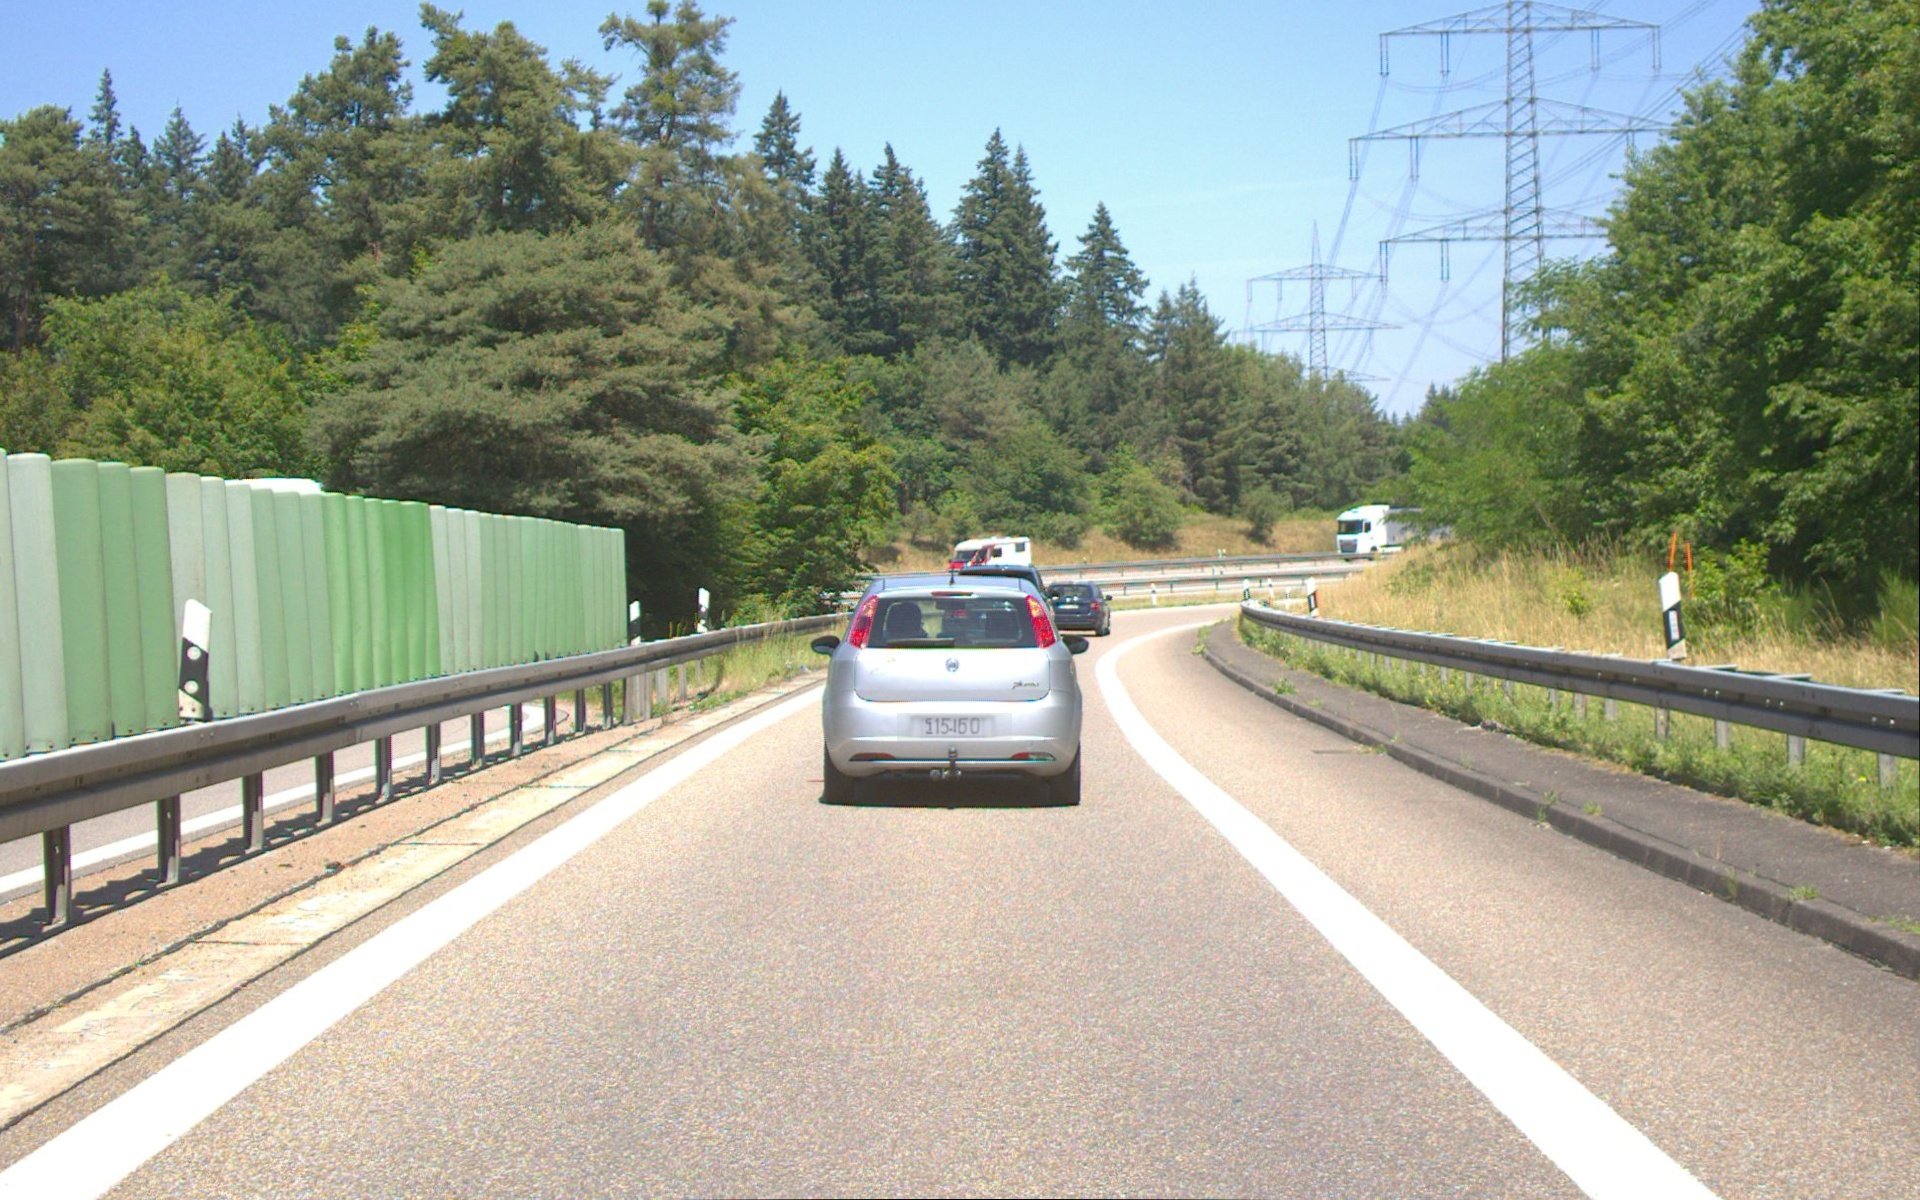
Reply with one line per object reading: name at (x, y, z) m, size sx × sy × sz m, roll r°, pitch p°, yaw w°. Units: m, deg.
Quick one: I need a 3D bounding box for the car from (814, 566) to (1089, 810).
car at (-0.097, 0.534, 23.124) m, size 1.706 × 1.476 × 3.398 m, roll 0°, pitch 1°, yaw -2°

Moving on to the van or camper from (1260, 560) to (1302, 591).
van or camper at (16.065, -1.217, 171.826) m, size 1.808 × 1.481 × 3.999 m, roll 0°, pitch 1°, yaw 9°

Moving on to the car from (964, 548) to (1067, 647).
car at (0.950, -0.070, 60.214) m, size 1.706 × 1.670 × 3.398 m, roll 0°, pitch 1°, yaw -1°

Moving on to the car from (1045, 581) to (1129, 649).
car at (3.404, 0.379, 91.473) m, size 1.882 × 1.678 × 3.999 m, roll -3°, pitch 0°, yaw 6°

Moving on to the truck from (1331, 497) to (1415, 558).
truck at (30.897, -5.422, 257.085) m, size 2.946 × 4.378 × 6.255 m, roll -2°, pitch 1°, yaw 44°

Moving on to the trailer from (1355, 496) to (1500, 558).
trailer at (35.702, -5.621, 262.027) m, size 2.932 × 4.372 × 14.261 m, roll -2°, pitch 1°, yaw 44°
